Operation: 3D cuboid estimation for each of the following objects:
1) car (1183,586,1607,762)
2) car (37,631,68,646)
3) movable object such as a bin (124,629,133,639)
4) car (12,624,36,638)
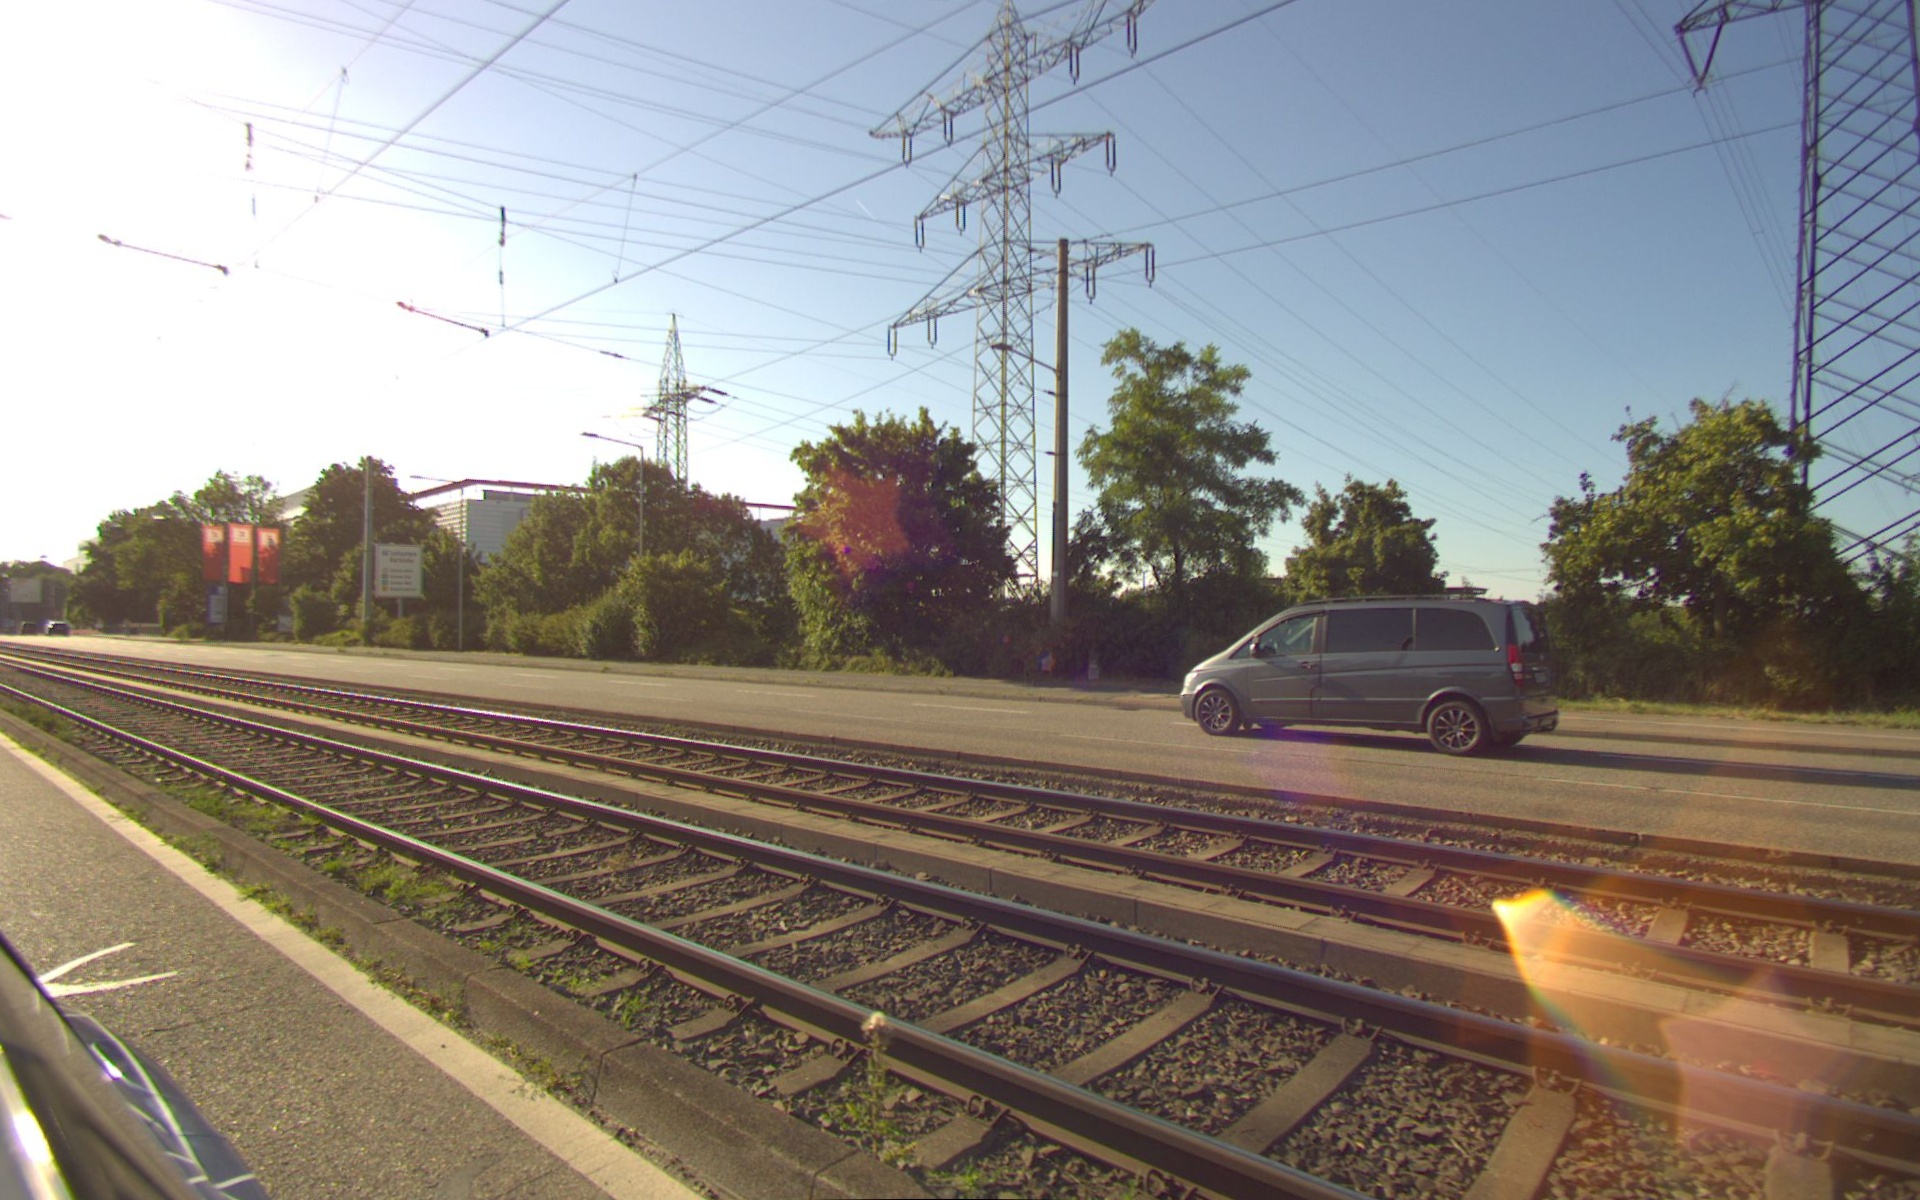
[{"bbox_3d":[5.622,0.865,13.552,4.861,1.937,1.971,-1,-2,43],"label":"car"},{"bbox_3d":[-102.495,4.347,114.244,4.681,1.637,1.973,-1,-2,41],"label":"car"},{"bbox_3d":[-83.808,3.470,102.000,0.605,0.973,1.084,-1,0,-45],"label":"movable object such as a bin"},{"bbox_3d":[-127.212,4.250,137.462,4.349,1.809,1.972,-1,-3,42],"label":"car"}]
